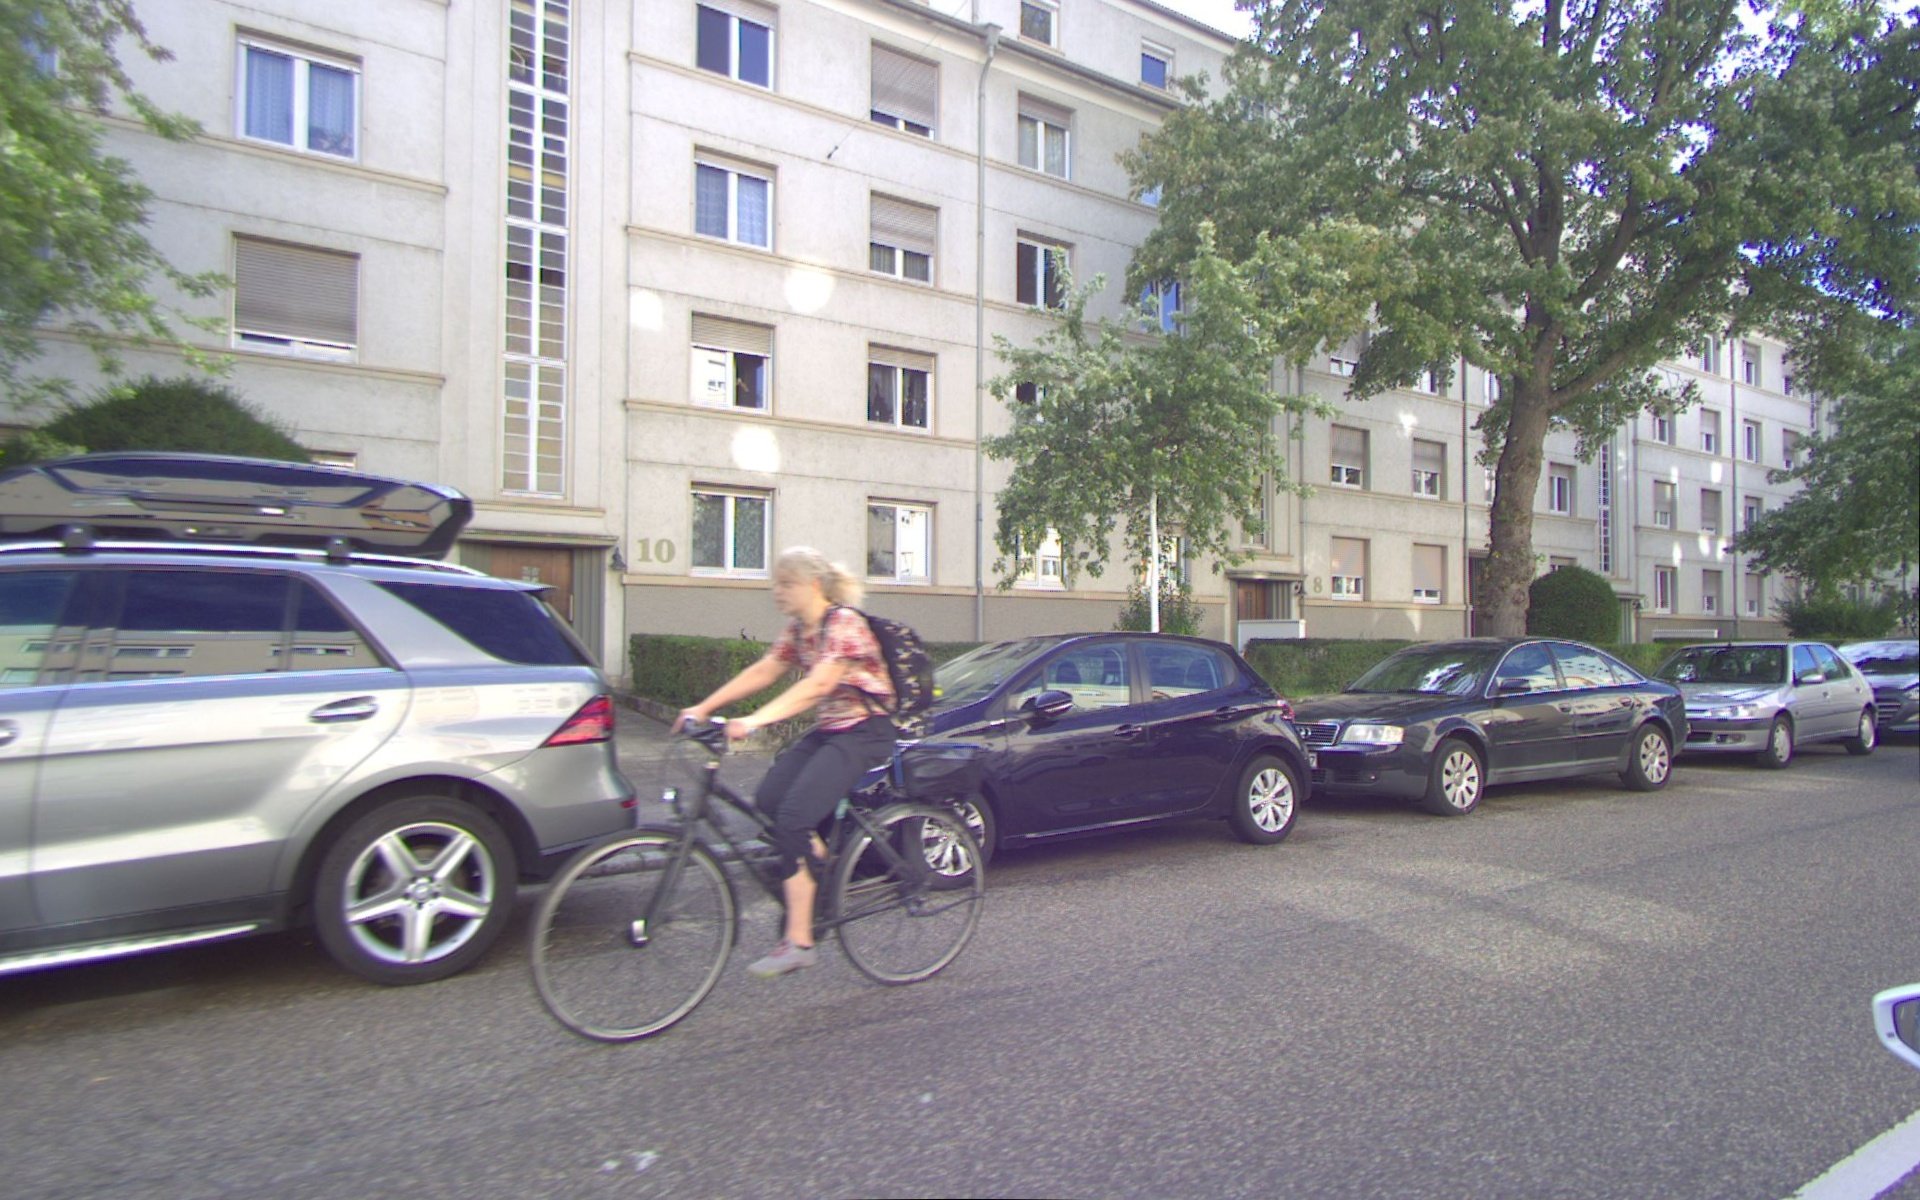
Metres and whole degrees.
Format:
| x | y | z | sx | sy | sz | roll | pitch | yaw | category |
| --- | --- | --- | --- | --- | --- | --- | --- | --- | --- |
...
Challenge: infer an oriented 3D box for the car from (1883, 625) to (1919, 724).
| x | y | z | sx | sy | sz | roll | pitch | yaw | category |
| --- | --- | --- | --- | --- | --- | --- | --- | --- | --- |
| 17.811 | 1.261 | 17.364 | 3.950 | 1.641 | 1.730 | 2 | -3 | -32 | car |

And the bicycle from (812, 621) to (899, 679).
| x | y | z | sx | sy | sz | roll | pitch | yaw | category |
| --- | --- | --- | --- | --- | --- | --- | --- | --- | --- |
| -1.993 | 0.950 | 19.264 | 1.560 | 1.063 | 0.565 | 1 | -1 | -32 | bicycle |

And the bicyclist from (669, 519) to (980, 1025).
| x | y | z | sx | sy | sz | roll | pitch | yaw | category |
| --- | --- | --- | --- | --- | --- | --- | --- | --- | --- |
| -0.507 | 0.573 | 3.766 | 0.978 | 1.621 | 0.638 | 2 | -3 | -30 | bicyclist |

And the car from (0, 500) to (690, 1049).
| x | y | z | sx | sy | sz | roll | pitch | yaw | category |
| --- | --- | --- | --- | --- | --- | --- | --- | --- | --- |
| -3.794 | 0.625 | 4.065 | 4.915 | 1.816 | 1.868 | 2 | -4 | -32 | car |

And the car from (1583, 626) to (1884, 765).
| x | y | z | sx | sy | sz | roll | pitch | yaw | category |
| --- | --- | --- | --- | --- | --- | --- | --- | --- | --- |
| 9.415 | 1.100 | 12.164 | 3.920 | 1.437 | 1.592 | 2 | -5 | -32 | car |

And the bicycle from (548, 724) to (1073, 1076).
| x | y | z | sx | sy | sz | roll | pitch | yaw | category |
| --- | --- | --- | --- | --- | --- | --- | --- | --- | --- |
| -0.504 | 0.987 | 3.752 | 1.836 | 0.935 | 0.639 | 2 | -3 | -31 | bicycle |

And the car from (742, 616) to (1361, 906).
| x | y | z | sx | sy | sz | roll | pitch | yaw | category |
| --- | --- | --- | --- | --- | --- | --- | --- | --- | --- |
| 0.711 | 0.956 | 7.001 | 4.070 | 1.499 | 1.678 | 2 | -5 | -30 | car |

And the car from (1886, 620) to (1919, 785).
| x | y | z | sx | sy | sz | roll | pitch | yaw | category |
| --- | --- | --- | --- | --- | --- | --- | --- | --- | --- |
| 11.066 | 0.986 | 9.832 | 3.963 | 1.549 | 1.851 | 1 | -2 | -30 | car |

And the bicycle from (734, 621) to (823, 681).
| x | y | z | sx | sy | sz | roll | pitch | yaw | category |
| --- | --- | --- | --- | --- | --- | --- | --- | --- | --- |
| -3.335 | 0.924 | 18.500 | 1.524 | 1.070 | 0.539 | 1 | -1 | -32 | bicycle |

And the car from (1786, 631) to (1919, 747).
| x | y | z | sx | sy | sz | roll | pitch | yaw | category |
| --- | --- | --- | --- | --- | --- | --- | --- | --- | --- |
| 13.692 | 1.223 | 14.479 | 3.970 | 1.487 | 1.605 | 2 | -3 | -33 | car |

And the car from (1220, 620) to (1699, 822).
| x | y | z | sx | sy | sz | roll | pitch | yaw | category |
| --- | --- | --- | --- | --- | --- | --- | --- | --- | --- |
| 4.672 | 1.020 | 9.285 | 4.395 | 1.499 | 1.680 | 1 | -5 | -28 | car |
